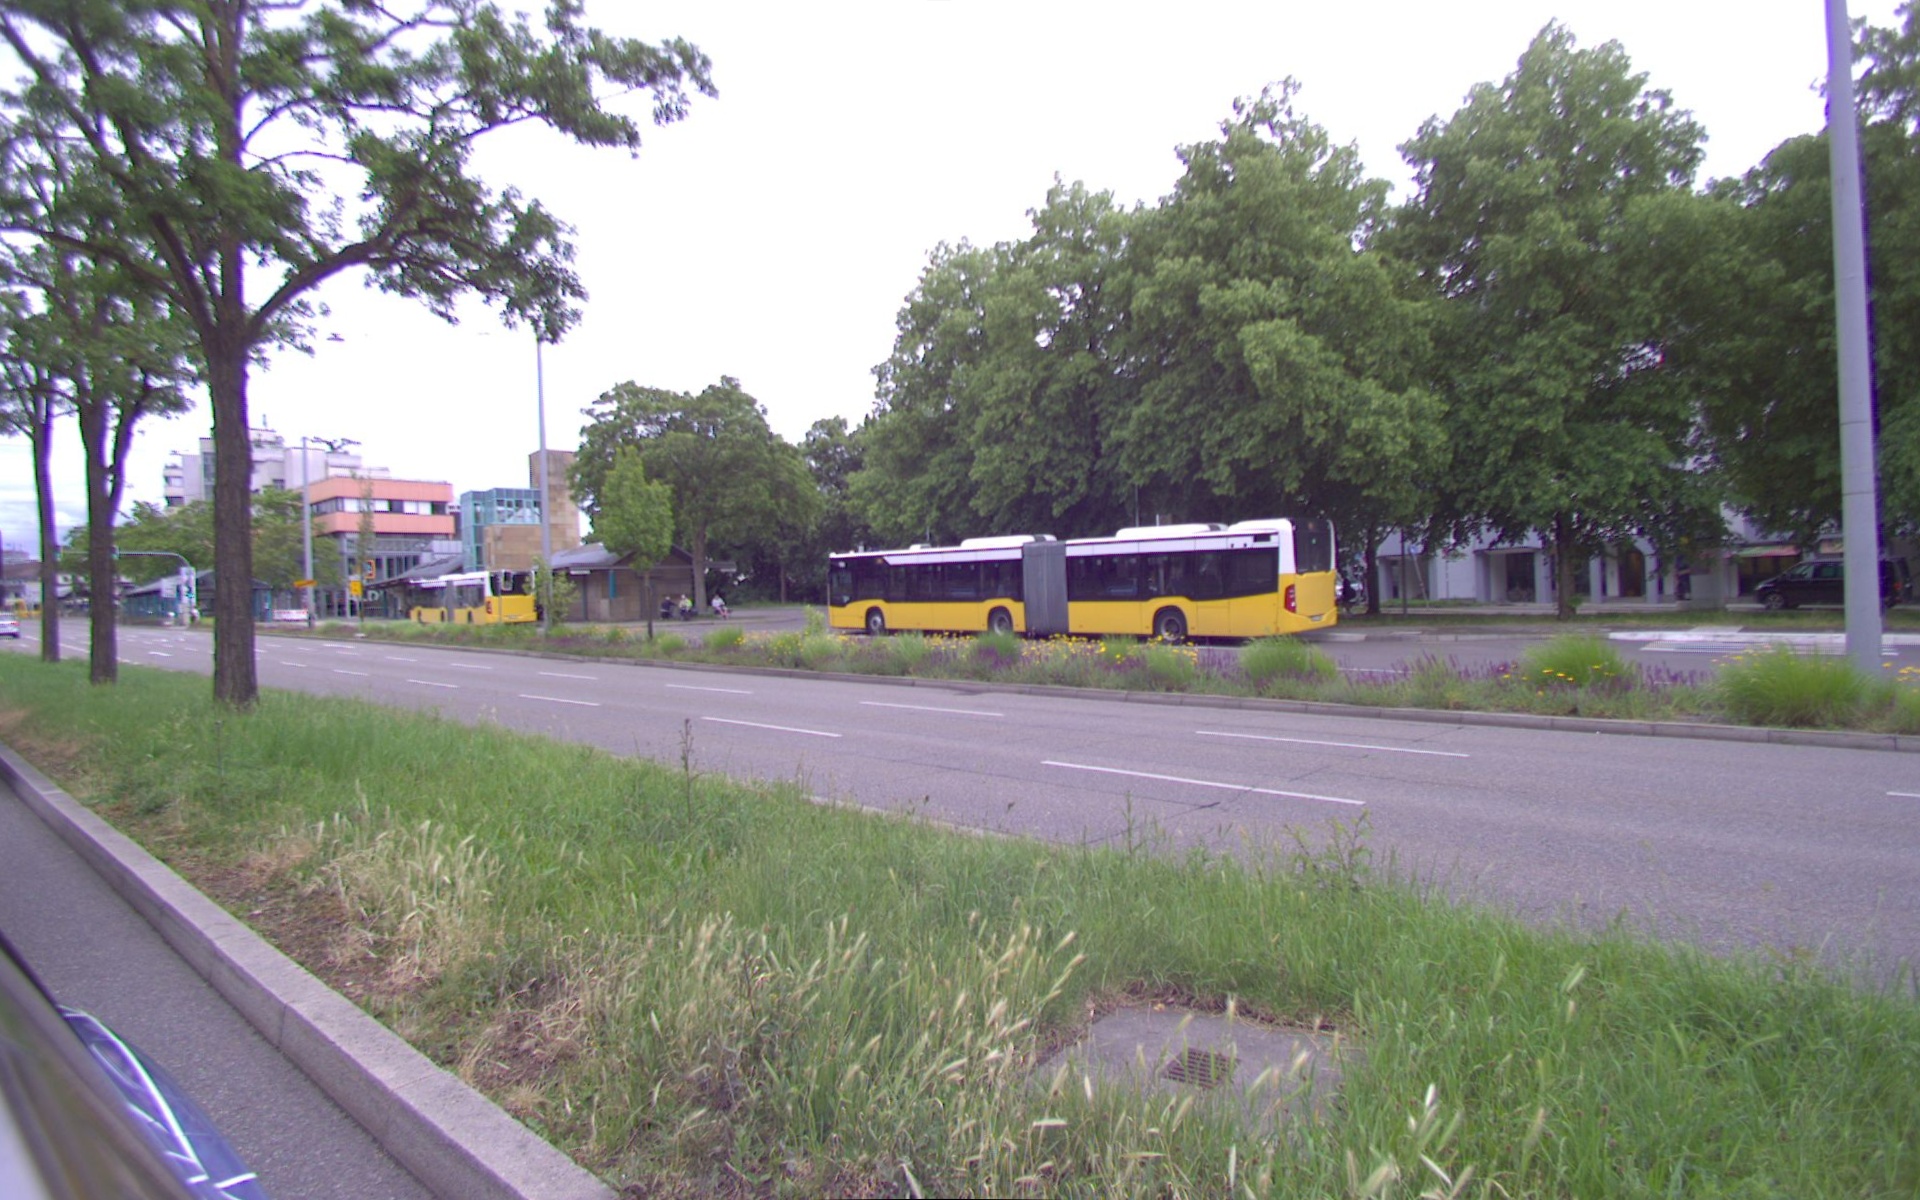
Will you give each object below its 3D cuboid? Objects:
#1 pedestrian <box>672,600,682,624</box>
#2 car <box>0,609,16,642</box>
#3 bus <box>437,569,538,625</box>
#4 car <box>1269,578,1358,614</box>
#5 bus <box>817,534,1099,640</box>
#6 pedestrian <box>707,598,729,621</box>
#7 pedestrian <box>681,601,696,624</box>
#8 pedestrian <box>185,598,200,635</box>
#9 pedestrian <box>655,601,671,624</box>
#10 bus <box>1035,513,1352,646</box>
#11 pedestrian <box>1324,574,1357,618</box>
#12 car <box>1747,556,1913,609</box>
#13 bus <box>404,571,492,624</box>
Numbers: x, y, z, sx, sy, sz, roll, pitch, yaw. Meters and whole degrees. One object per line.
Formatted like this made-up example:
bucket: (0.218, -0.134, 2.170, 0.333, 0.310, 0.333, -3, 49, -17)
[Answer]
pedestrian: (-14.183, 0.616, 50.751, 0.361, 1.175, 0.900, -1, 0, -23)
car: (-60.436, 1.615, 63.363, 4.000, 2.029, 1.703, -1, 0, 43)
bus: (-26.132, -0.099, 55.687, 2.846, 2.830, 9.192, -1, 0, -39)
car: (17.916, -0.187, 51.392, 1.663, 1.763, 4.010, -1, 0, -36)
bus: (-0.449, -0.310, 33.433, 2.849, 3.025, 10.401, -1, 0, -44)
pedestrian: (-12.324, 0.487, 51.511, 0.924, 1.180, 0.641, -1, 0, 41)
pedestrian: (-13.638, 0.618, 50.842, 0.589, 1.171, 0.745, -1, 0, -23)
pedestrian: (-58.868, 1.265, 77.623, 0.889, 2.809, 1.150, -1, 0, -36)
pedestrian: (-15.391, 0.631, 52.514, 0.590, 1.171, 0.744, -1, 0, -33)
bus: (5.898, -0.420, 26.838, 2.849, 3.025, 7.889, -1, 0, -44)
pedestrian: (13.974, -0.154, 37.181, 0.904, 1.569, 0.761, -1, 0, 41)
car: (32.688, -0.614, 38.157, 1.758, 1.861, 4.429, -1, 0, -35)
bus: (-31.723, -0.085, 62.483, 2.846, 3.025, 9.191, -1, 0, -40)
